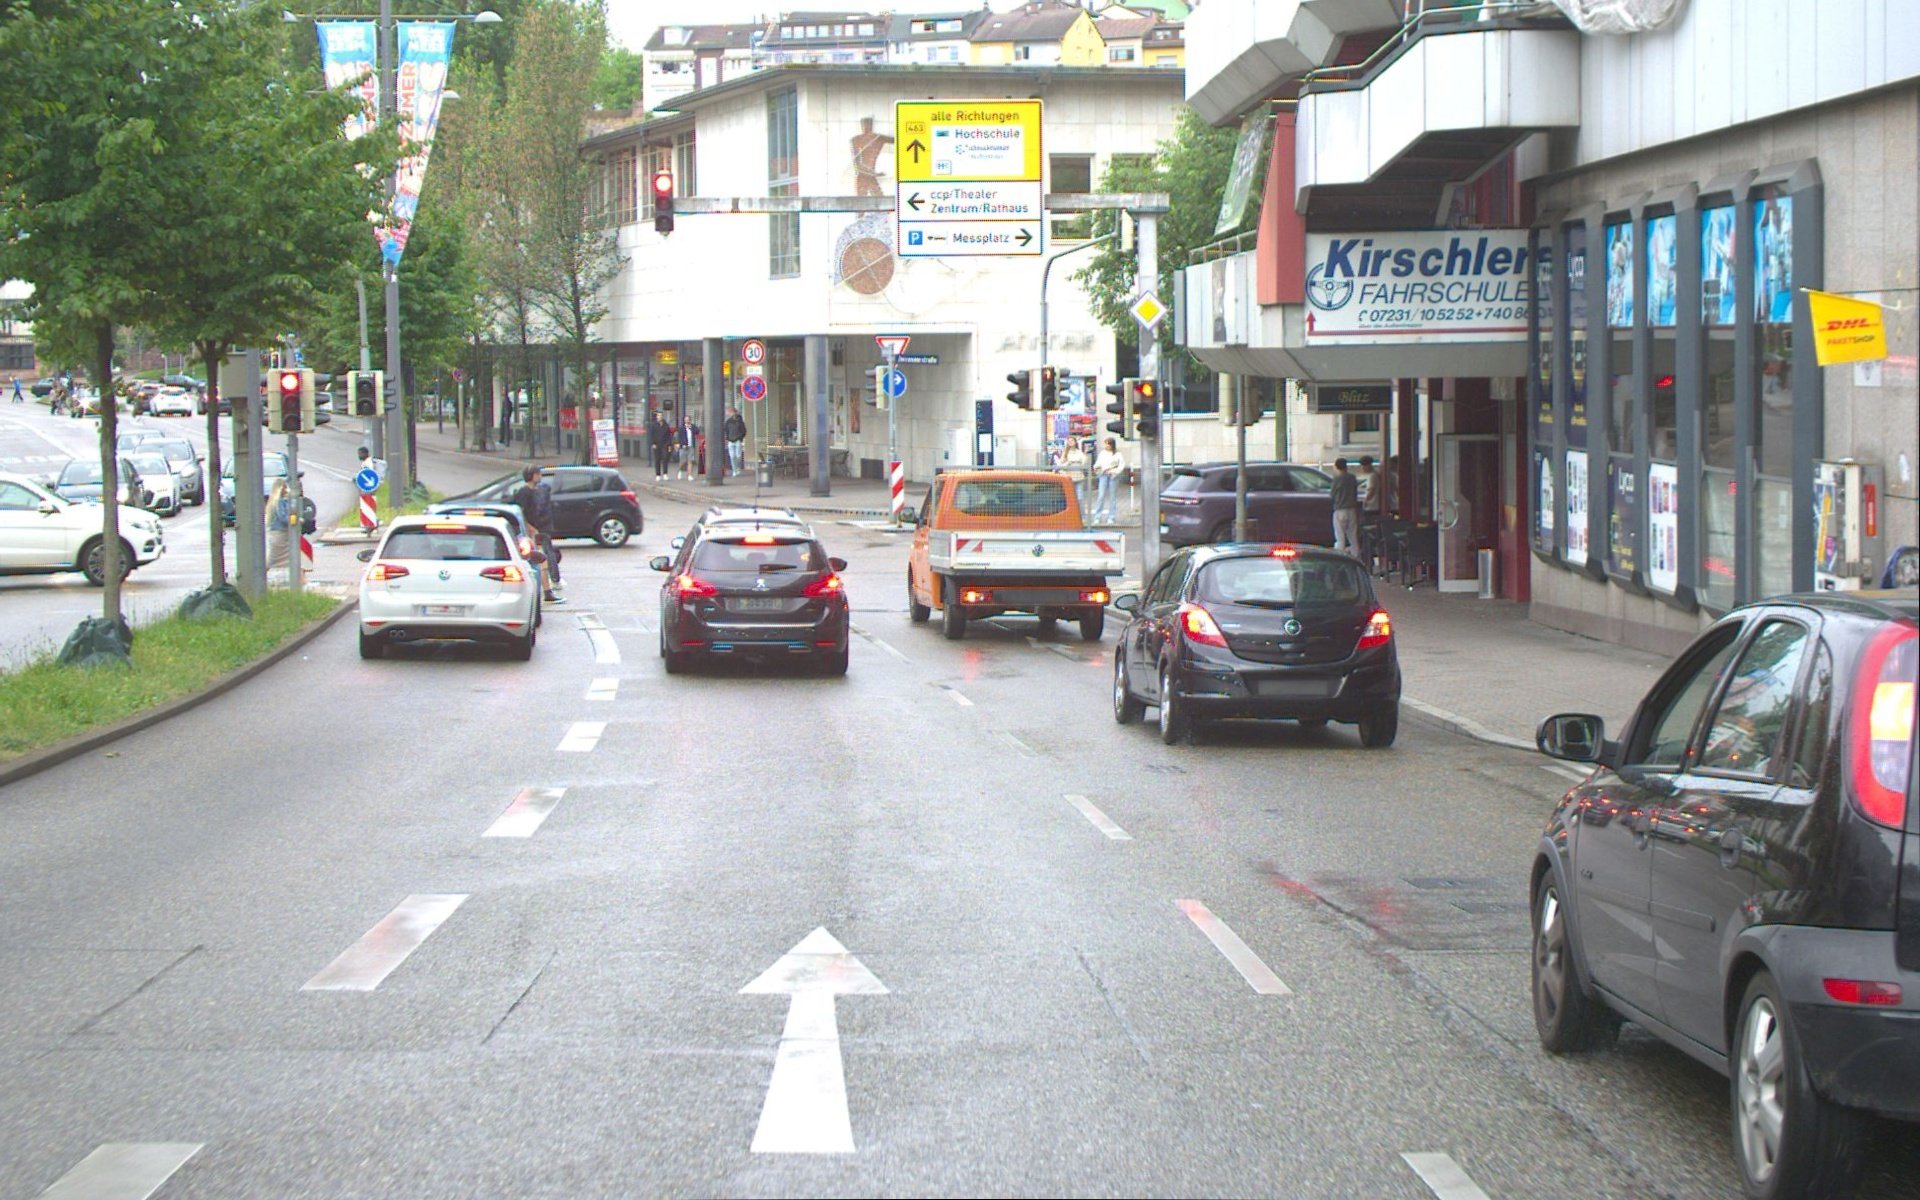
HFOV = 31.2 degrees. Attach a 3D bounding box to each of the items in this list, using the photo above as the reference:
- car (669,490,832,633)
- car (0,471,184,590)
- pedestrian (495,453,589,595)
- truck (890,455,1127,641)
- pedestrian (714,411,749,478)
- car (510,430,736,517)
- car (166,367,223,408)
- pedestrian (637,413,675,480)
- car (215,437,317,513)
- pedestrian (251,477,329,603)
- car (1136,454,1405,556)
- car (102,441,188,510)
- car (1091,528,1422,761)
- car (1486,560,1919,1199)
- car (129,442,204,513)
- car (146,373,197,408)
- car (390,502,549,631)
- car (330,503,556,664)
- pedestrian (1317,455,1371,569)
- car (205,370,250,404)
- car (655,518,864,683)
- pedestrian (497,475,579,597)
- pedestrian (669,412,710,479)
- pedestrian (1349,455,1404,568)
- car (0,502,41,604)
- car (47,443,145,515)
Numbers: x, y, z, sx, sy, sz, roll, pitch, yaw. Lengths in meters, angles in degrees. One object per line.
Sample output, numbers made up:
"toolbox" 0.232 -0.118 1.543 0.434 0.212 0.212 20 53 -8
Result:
"car" -2.533 -0.499 40.873 1.760 1.537 4.001 -1 3 -6
"car" -14.429 -1.069 52.246 5.070 1.753 2.001 0 1 -15
"pedestrian" -5.664 -1.041 46.621 1.063 1.875 0.838 -2 2 4
"truck" 0.496 -0.682 41.476 2.183 2.075 5.605 -1 2 -6
"pedestrian" -6.284 -4.283 94.554 0.702 1.796 0.939 -2 2 -17
"car" -6.097 -2.288 62.147 3.986 1.522 1.848 -1 2 -7
"car" -39.527 -10.969 177.537 1.993 2.006 4.001 -2 2 -26
"pedestrian" -8.332 -4.190 94.127 0.798 1.796 0.918 -2 2 -17
"car" -14.626 -2.629 72.619 1.819 1.543 4.001 -1 2 -8
"pedestrian" -9.401 -0.849 48.271 0.835 1.716 0.818 -2 2 4
"car" 5.234 -1.615 58.190 4.147 1.651 1.842 -1 2 -14
"car" -18.727 -2.861 79.105 1.777 1.543 4.001 -1 2 -12
"car" 2.169 0.270 26.210 1.949 1.568 4.001 -1 2 -3
"car" 2.514 0.656 8.878 1.717 1.415 3.770 1 2 0
"car" -19.767 -3.062 85.772 1.705 1.714 4.001 -1 2 -12
"car" -38.433 -10.195 167.490 1.993 1.590 4.001 -1 2 -19
"car" -6.034 -0.451 42.626 1.794 1.463 4.001 -1 2 -6
"car" -5.380 -0.221 36.220 1.949 1.568 4.001 0 2 -3
"pedestrian" 5.837 -1.336 52.244 0.575 1.694 0.651 -2 2 -13
"car" -36.361 -10.545 170.623 1.831 1.583 3.875 -1 2 -17
"car" -2.062 -0.041 34.287 1.811 1.436 4.001 1 3 -7
"pedestrian" -6.121 -0.934 49.923 1.010 1.716 0.838 -2 2 2
"pedestrian" -7.382 -4.216 93.895 0.846 1.796 1.056 -2 2 -17
"pedestrian" 6.382 -1.360 52.695 0.575 1.694 0.651 -2 2 -17
"car" -17.284 -0.782 55.438 4.681 1.638 1.787 0 1 -17
"car" -17.978 -2.513 71.644 1.706 1.446 3.863 -1 2 -10
